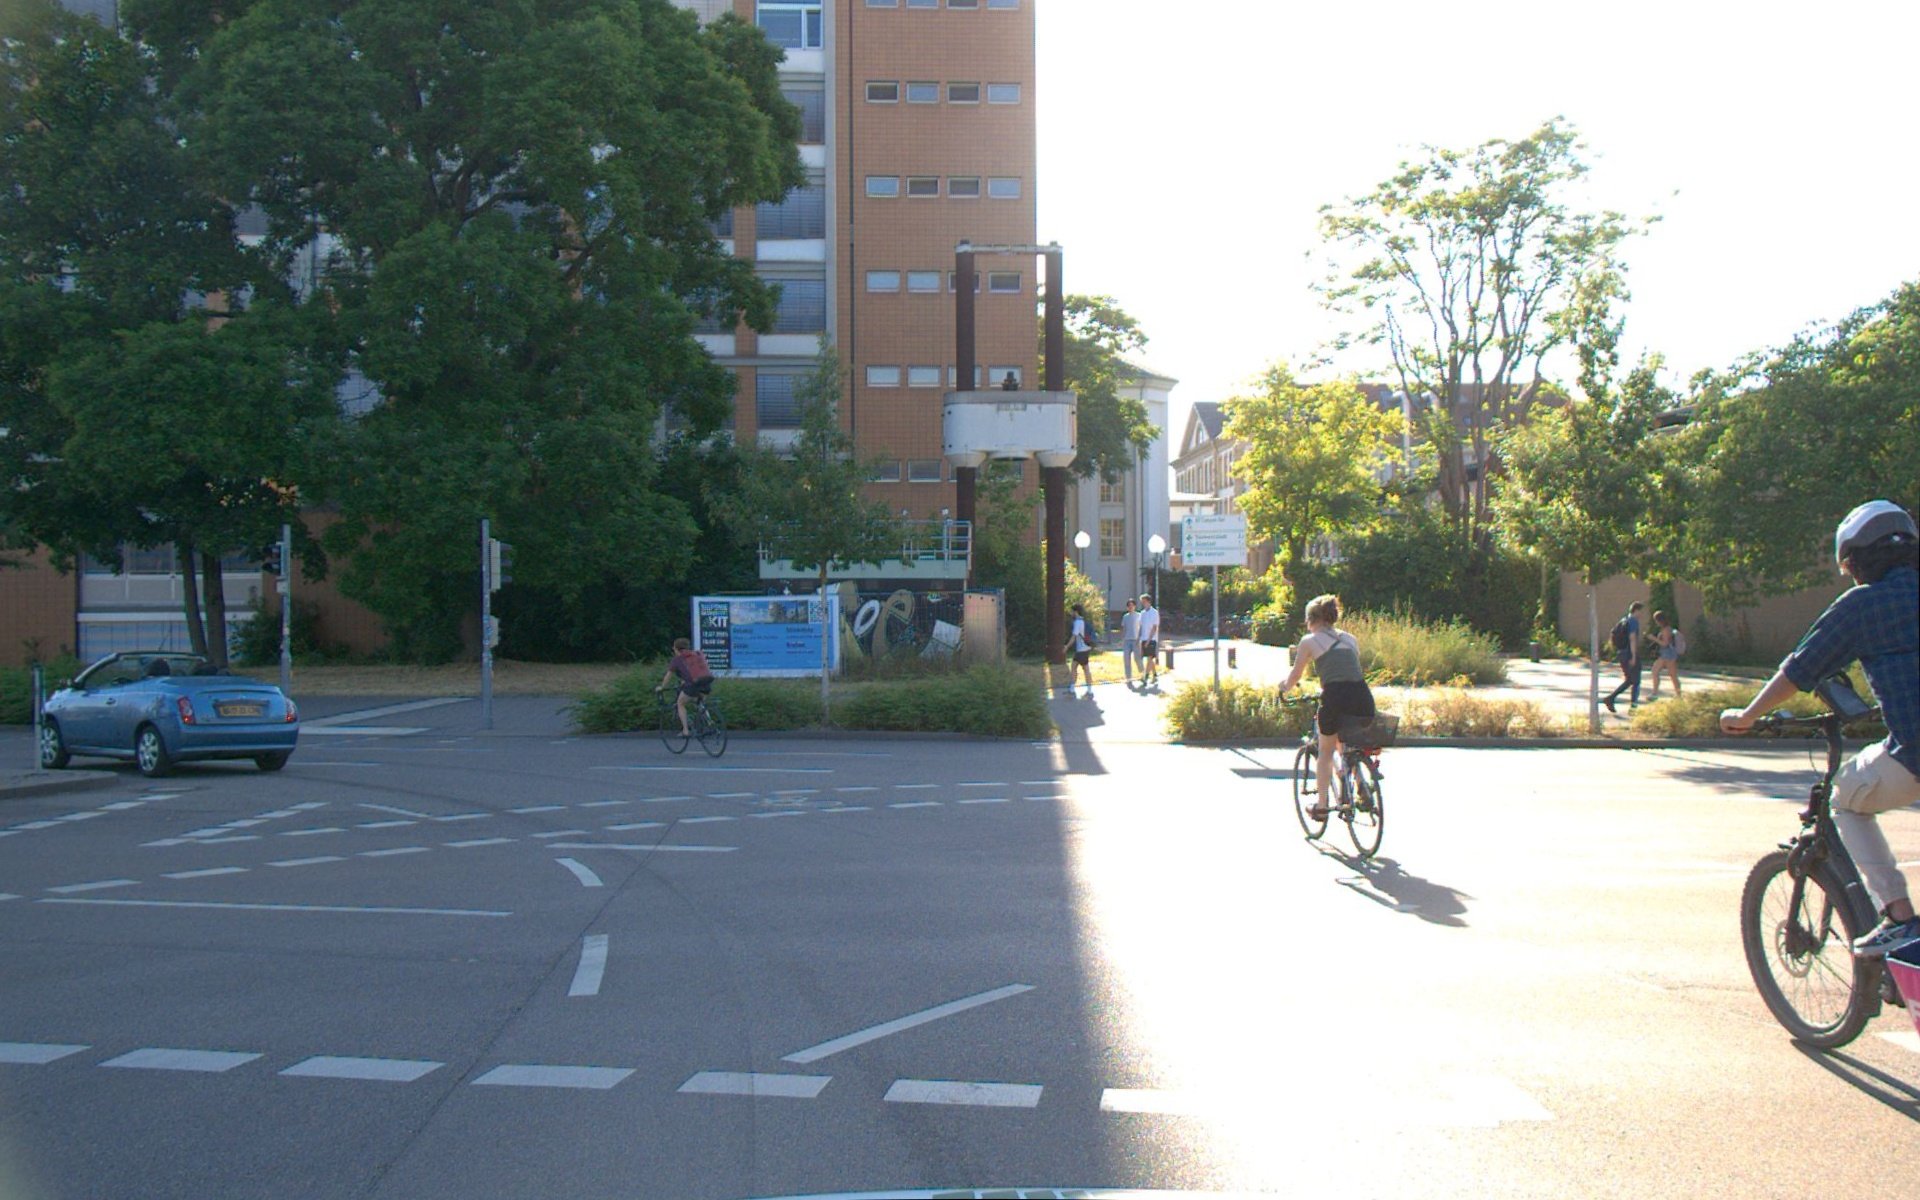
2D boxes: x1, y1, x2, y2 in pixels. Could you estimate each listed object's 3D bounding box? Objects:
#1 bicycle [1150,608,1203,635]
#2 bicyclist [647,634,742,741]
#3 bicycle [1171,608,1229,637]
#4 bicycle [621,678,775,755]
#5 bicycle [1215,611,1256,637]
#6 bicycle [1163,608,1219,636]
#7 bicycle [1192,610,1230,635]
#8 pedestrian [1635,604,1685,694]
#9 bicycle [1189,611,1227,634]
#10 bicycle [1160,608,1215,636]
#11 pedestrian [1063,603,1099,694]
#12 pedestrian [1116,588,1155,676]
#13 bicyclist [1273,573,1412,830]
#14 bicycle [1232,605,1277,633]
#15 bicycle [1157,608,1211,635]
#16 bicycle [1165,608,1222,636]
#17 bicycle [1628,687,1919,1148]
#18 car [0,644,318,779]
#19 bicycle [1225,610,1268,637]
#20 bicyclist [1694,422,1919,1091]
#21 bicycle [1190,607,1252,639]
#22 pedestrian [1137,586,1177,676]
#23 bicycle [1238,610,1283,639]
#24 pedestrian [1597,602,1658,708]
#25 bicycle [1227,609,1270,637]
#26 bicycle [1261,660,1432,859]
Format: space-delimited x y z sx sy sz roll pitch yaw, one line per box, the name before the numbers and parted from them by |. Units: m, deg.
bicycle | 11.986 1.177 91.609 2.812 1.405 0.683 1 -1 1
bicyclist | -3.585 1.175 22.325 1.054 1.409 0.719 -3 -3 37
bicycle | 12.075 1.117 83.331 2.812 1.405 0.683 1 -1 1
bicycle | -3.549 1.558 22.291 2.205 0.969 0.719 -3 -3 37
bicycle | 12.419 1.059 74.553 1.757 1.127 0.500 1 -1 1
bicycle | 12.039 1.138 86.239 2.812 1.405 0.683 1 -1 1
bicycle | 12.094 1.089 79.611 1.757 1.127 0.500 1 -1 1
pedestrian | 12.675 0.875 29.959 0.624 1.602 0.623 -1 0 2
bicycle | 12.231 1.107 81.543 1.757 1.127 0.500 1 -1 1
bicycle | 12.078 1.152 87.951 2.812 1.405 0.683 1 -1 1
pedestrian | 2.342 0.927 31.959 0.615 1.729 0.623 -1 0 10
pedestrian | 3.834 0.699 36.101 0.571 1.902 0.614 0 0 -37
bicyclist | 2.656 0.678 11.589 0.761 1.706 1.093 0 0 3
bicycle | 12.298 0.812 69.100 1.757 1.127 0.500 1 -1 1
bicycle | 12.113 1.165 89.548 2.812 1.405 0.683 1 -1 1
bicycle | 12.043 1.131 85.370 2.812 1.405 0.683 1 -1 1
bicycle | 2.992 0.918 4.959 0.763 1.176 2.578 -1 0 -4
car | -9.714 1.277 19.973 3.897 1.470 1.800 -1 -2 35
bicycle | 12.402 1.015 71.592 1.757 1.127 0.500 1 -1 1
bicyclist | 2.966 0.431 5.191 0.763 1.865 1.092 -1 0 -4
bicycle | 12.275 1.080 77.763 2.812 1.405 0.683 1 -1 1
pedestrian | 4.228 0.666 35.576 0.571 1.902 0.614 0 0 -37
bicycle | 12.201 0.998 67.163 1.757 1.127 0.500 1 -1 1
pedestrian | 11.176 0.914 27.713 0.716 1.743 0.713 -1 0 2
bicycle | 12.342 0.981 70.786 1.757 1.127 0.500 1 -1 1
bicycle | 2.657 1.054 11.640 0.762 1.176 2.292 0 0 3
